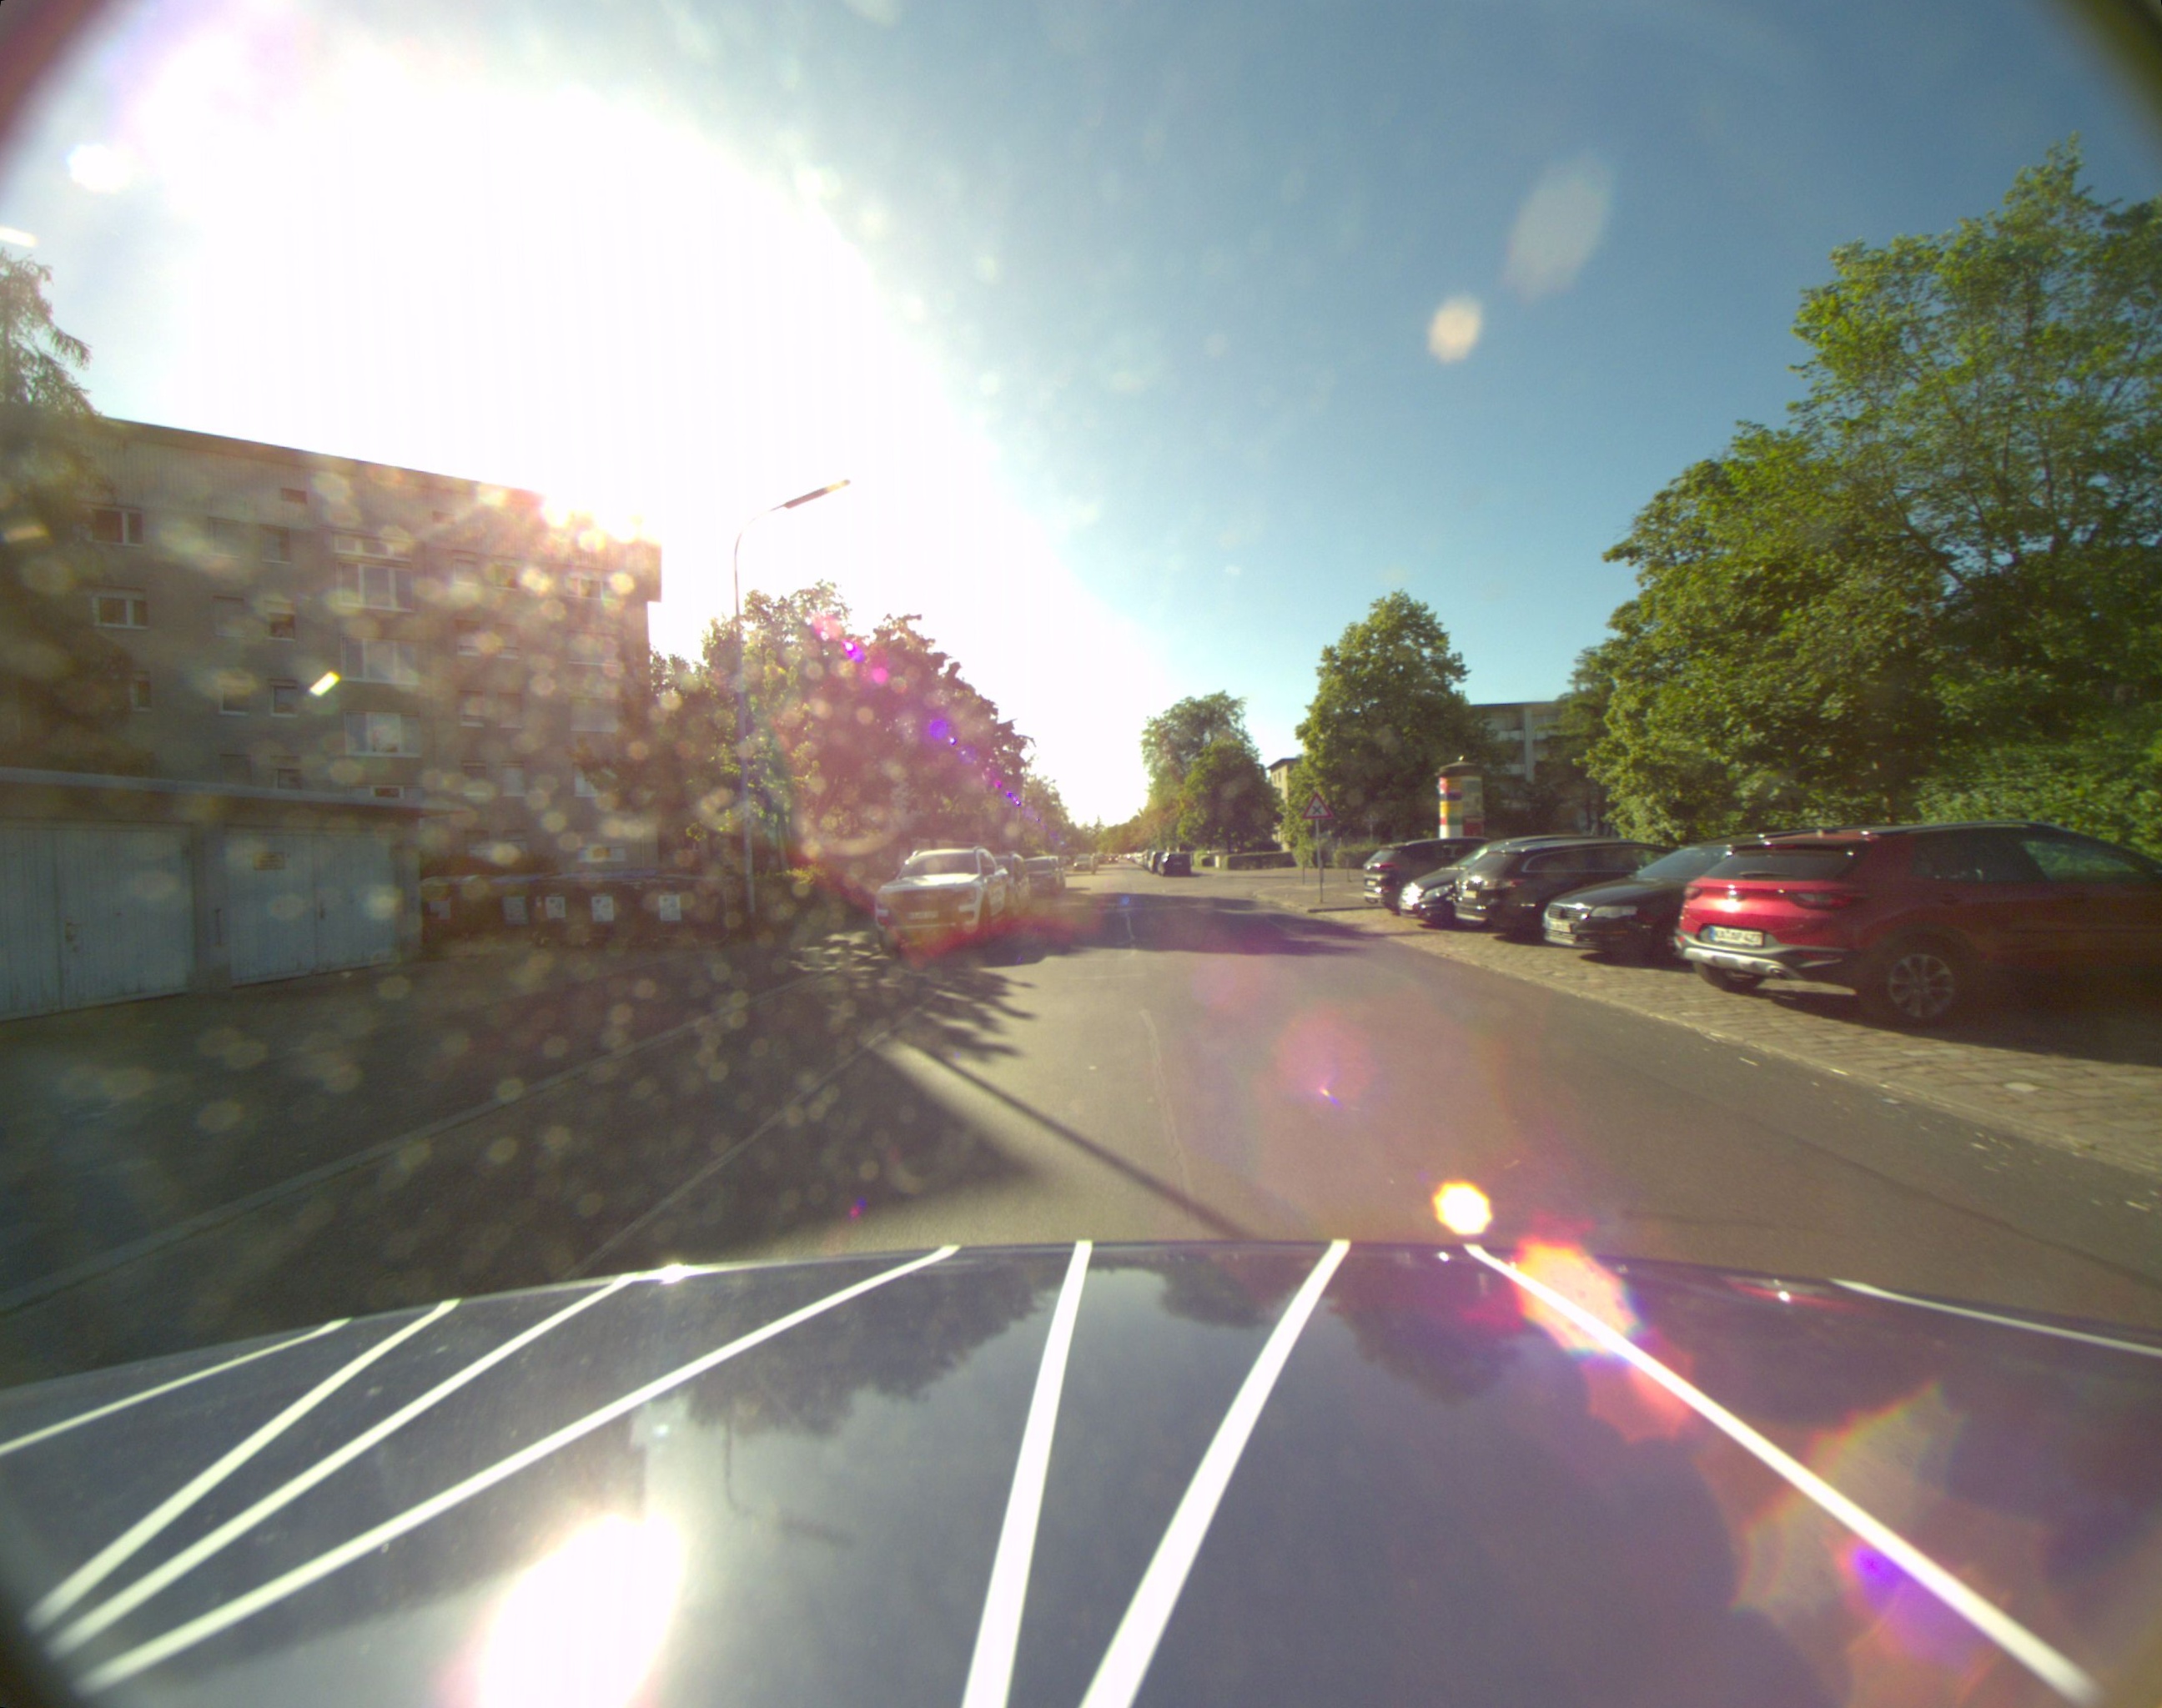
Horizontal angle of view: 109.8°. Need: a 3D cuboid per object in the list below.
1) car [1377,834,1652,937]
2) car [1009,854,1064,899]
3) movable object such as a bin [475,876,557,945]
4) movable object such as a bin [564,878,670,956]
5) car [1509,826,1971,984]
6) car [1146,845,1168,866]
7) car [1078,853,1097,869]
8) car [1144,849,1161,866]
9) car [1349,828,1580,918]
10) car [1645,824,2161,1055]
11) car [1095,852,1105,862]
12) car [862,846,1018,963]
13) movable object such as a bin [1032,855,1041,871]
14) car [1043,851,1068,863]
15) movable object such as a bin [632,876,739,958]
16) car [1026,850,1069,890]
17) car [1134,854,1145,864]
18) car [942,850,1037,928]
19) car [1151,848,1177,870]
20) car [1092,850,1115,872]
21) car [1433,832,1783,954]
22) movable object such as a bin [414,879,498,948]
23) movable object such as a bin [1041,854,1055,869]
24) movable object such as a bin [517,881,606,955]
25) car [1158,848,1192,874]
[{"bbox_3d":[7.877,0.538,14.108,3.997,1.524,1.831,-4,1,0],"label":"car"},{"bbox_3d":[-1.757,0.879,31.424,1.808,1.584,4.023,-4,0,2],"label":"car"},{"bbox_3d":[-12.231,1.210,16.463,1.078,1.409,0.833,-2,2,8],"label":"movable object such as a bin"},{"bbox_3d":[-8.674,1.166,14.257,1.252,1.339,1.053,-2,2,14],"label":"movable object such as a bin"},{"bbox_3d":[7.915,0.559,9.452,4.029,1.504,1.905,-4,1,0],"label":"car"},{"bbox_3d":[7.248,0.164,72.980,1.909,1.930,4.512,0,0,3],"label":"car"},{"bbox_3d":[0.640,0.666,76.571,1.732,1.462,3.813,-3,0,2],"label":"car"},{"bbox_3d":[8.285,0.386,88.336,1.732,1.941,3.813,0,0,2],"label":"car"},{"bbox_3d":[8.479,0.392,17.080,4.197,1.646,1.846,-4,1,0],"label":"car"},{"bbox_3d":[7.483,0.607,6.450,3.997,1.470,1.791,-4,0,0],"label":"car"},{"bbox_3d":[3.308,0.571,132.651,1.732,1.586,3.813,-3,0,2],"label":"car"},{"bbox_3d":[-2.568,0.860,15.276,1.911,1.829,5.275,-4,0,1],"label":"car"},{"bbox_3d":[-4.228,0.860,71.883,0.754,1.434,0.848,0,1,1],"label":"movable object such as a bin"},{"bbox_3d":[-3.735,0.442,111.951,3.504,1.499,1.602,-4,1,-3],"label":"car"},{"bbox_3d":[-7.105,1.119,13.701,1.252,1.339,1.053,-2,2,14],"label":"movable object such as a bin"},{"bbox_3d":[-1.547,0.709,36.398,1.772,1.601,4.370,-1,3,1],"label":"car"},{"bbox_3d":[9.765,0.768,127.028,1.632,1.619,3.556,0,0,2],"label":"car"},{"bbox_3d":[-2.354,0.868,20.720,1.838,1.780,4.556,-4,-1,1],"label":"car"},{"bbox_3d":[6.418,0.388,59.179,1.817,1.672,3.649,0,0,2],"label":"car"},{"bbox_3d":[1.801,0.555,61.115,1.732,1.586,3.813,-3,0,2],"label":"car"},{"bbox_3d":[8.006,0.553,11.857,4.102,1.504,1.812,-4,1,3],"label":"car"},{"bbox_3d":[-13.664,1.290,16.632,1.078,1.409,0.833,-2,2,8],"label":"movable object such as a bin"},{"bbox_3d":[-3.114,0.719,71.954,1.277,1.434,1.179,0,1,1],"label":"movable object such as a bin"},{"bbox_3d":[-10.026,1.225,14.687,1.077,1.339,0.865,-2,2,14],"label":"movable object such as a bin"},{"bbox_3d":[6.063,0.420,49.299,1.784,1.564,4.424,-2,0,2],"label":"car"}]
